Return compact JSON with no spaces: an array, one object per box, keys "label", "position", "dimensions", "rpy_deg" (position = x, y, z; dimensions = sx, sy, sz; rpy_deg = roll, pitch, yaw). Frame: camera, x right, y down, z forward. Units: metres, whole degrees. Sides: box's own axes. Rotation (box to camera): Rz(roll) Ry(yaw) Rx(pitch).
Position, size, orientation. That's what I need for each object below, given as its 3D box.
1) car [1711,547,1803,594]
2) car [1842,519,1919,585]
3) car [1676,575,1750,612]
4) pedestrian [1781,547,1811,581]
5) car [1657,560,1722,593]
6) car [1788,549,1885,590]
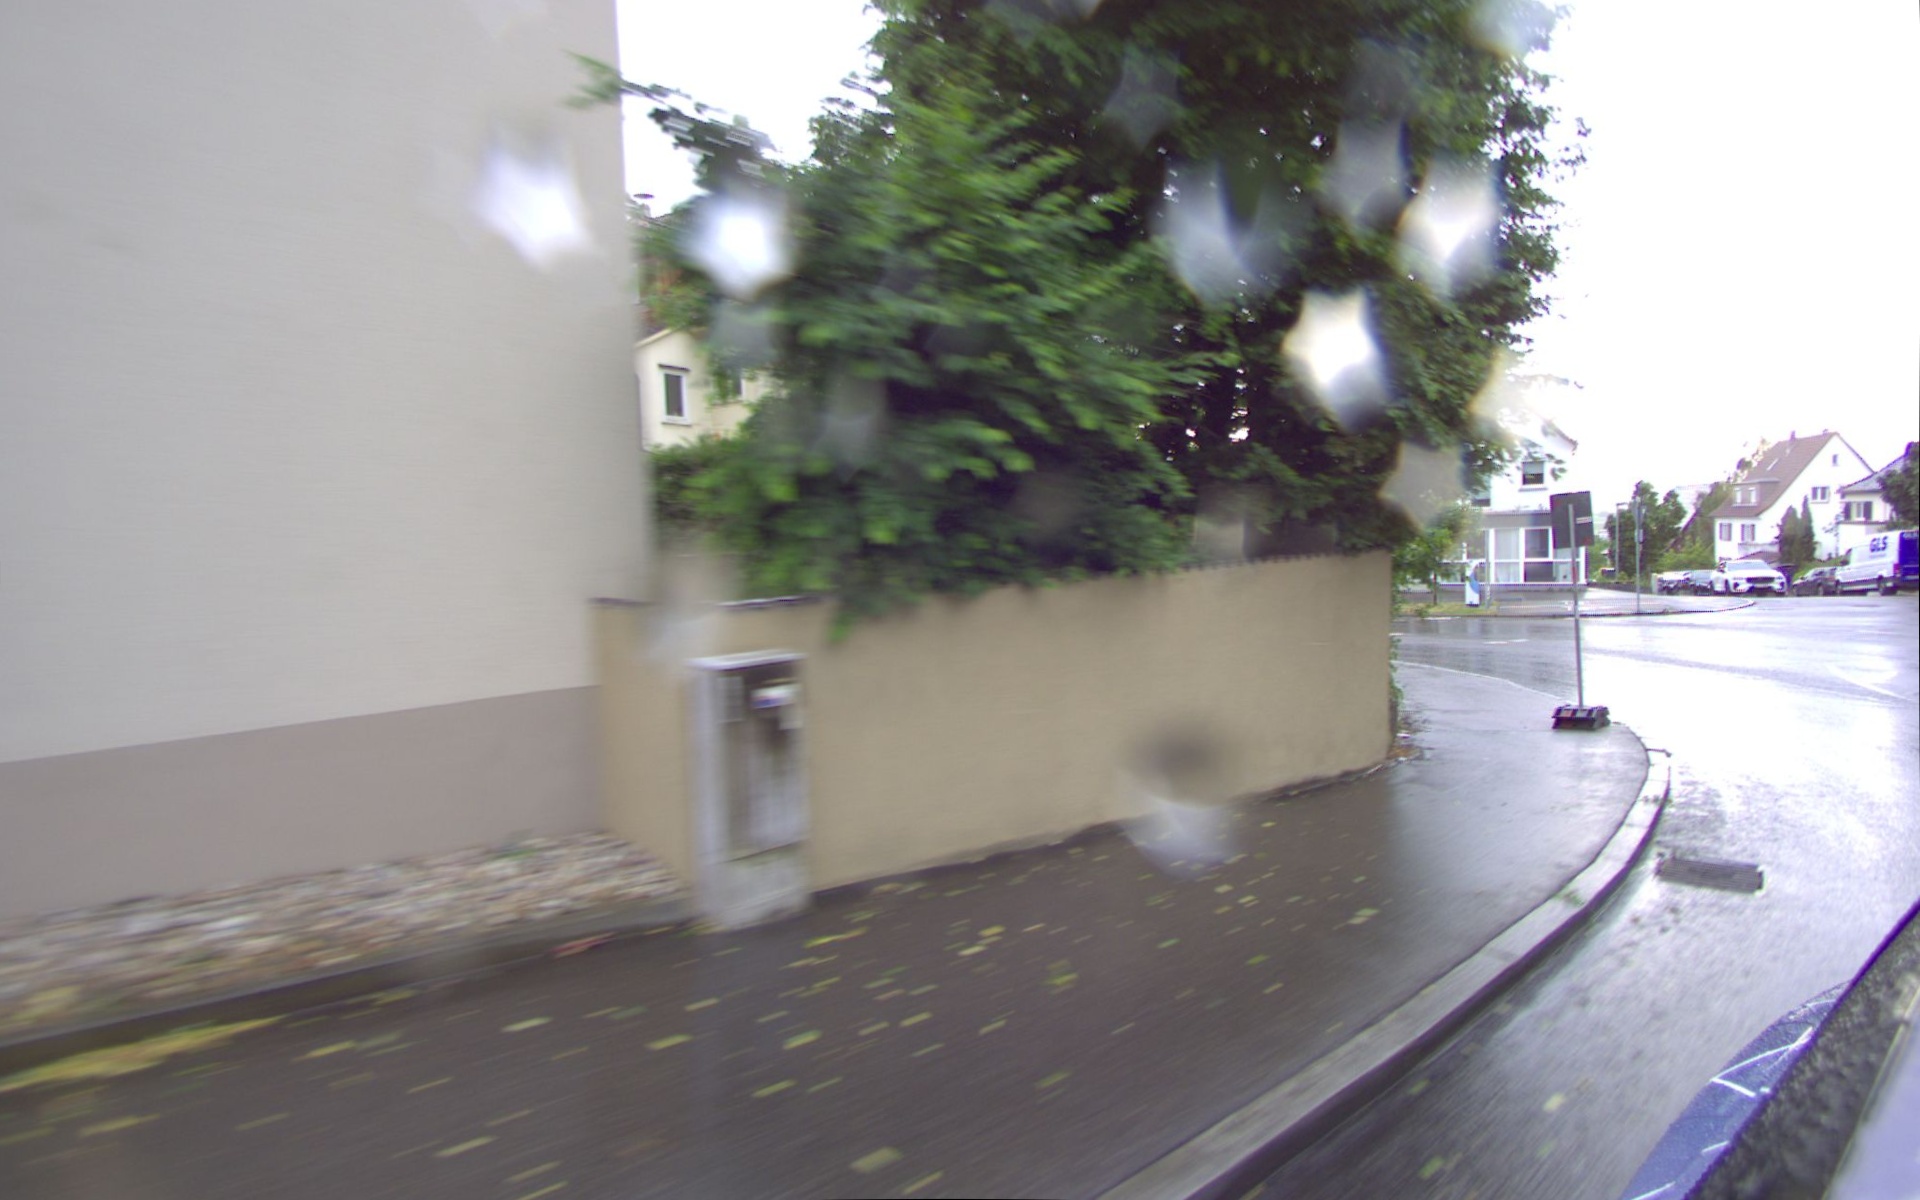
[{"label":"car","position":[33.112,-1.258,42.188],"dimensions":[2.047,1.727,4.750],"rpy_deg":[-3,1,27]},{"label":"car","position":[38.862,-2.015,41.499],"dimensions":[2.166,2.554,6.206],"rpy_deg":[-3,1,24]},{"label":"car","position":[35.817,-0.337,48.266],"dimensions":[2.047,1.528,4.441],"rpy_deg":[-3,1,27]},{"label":"pedestrian","position":[39.873,-1.713,48.281],"dimensions":[0.817,1.528,0.968],"rpy_deg":[-3,1,27]},{"label":"car","position":[38.318,-1.265,53.265],"dimensions":[2.047,1.528,4.441],"rpy_deg":[-3,1,27]},{"label":"car","position":[41.548,-1.464,48.128],"dimensions":[2.044,1.727,4.757],"rpy_deg":[-3,1,23]}]
